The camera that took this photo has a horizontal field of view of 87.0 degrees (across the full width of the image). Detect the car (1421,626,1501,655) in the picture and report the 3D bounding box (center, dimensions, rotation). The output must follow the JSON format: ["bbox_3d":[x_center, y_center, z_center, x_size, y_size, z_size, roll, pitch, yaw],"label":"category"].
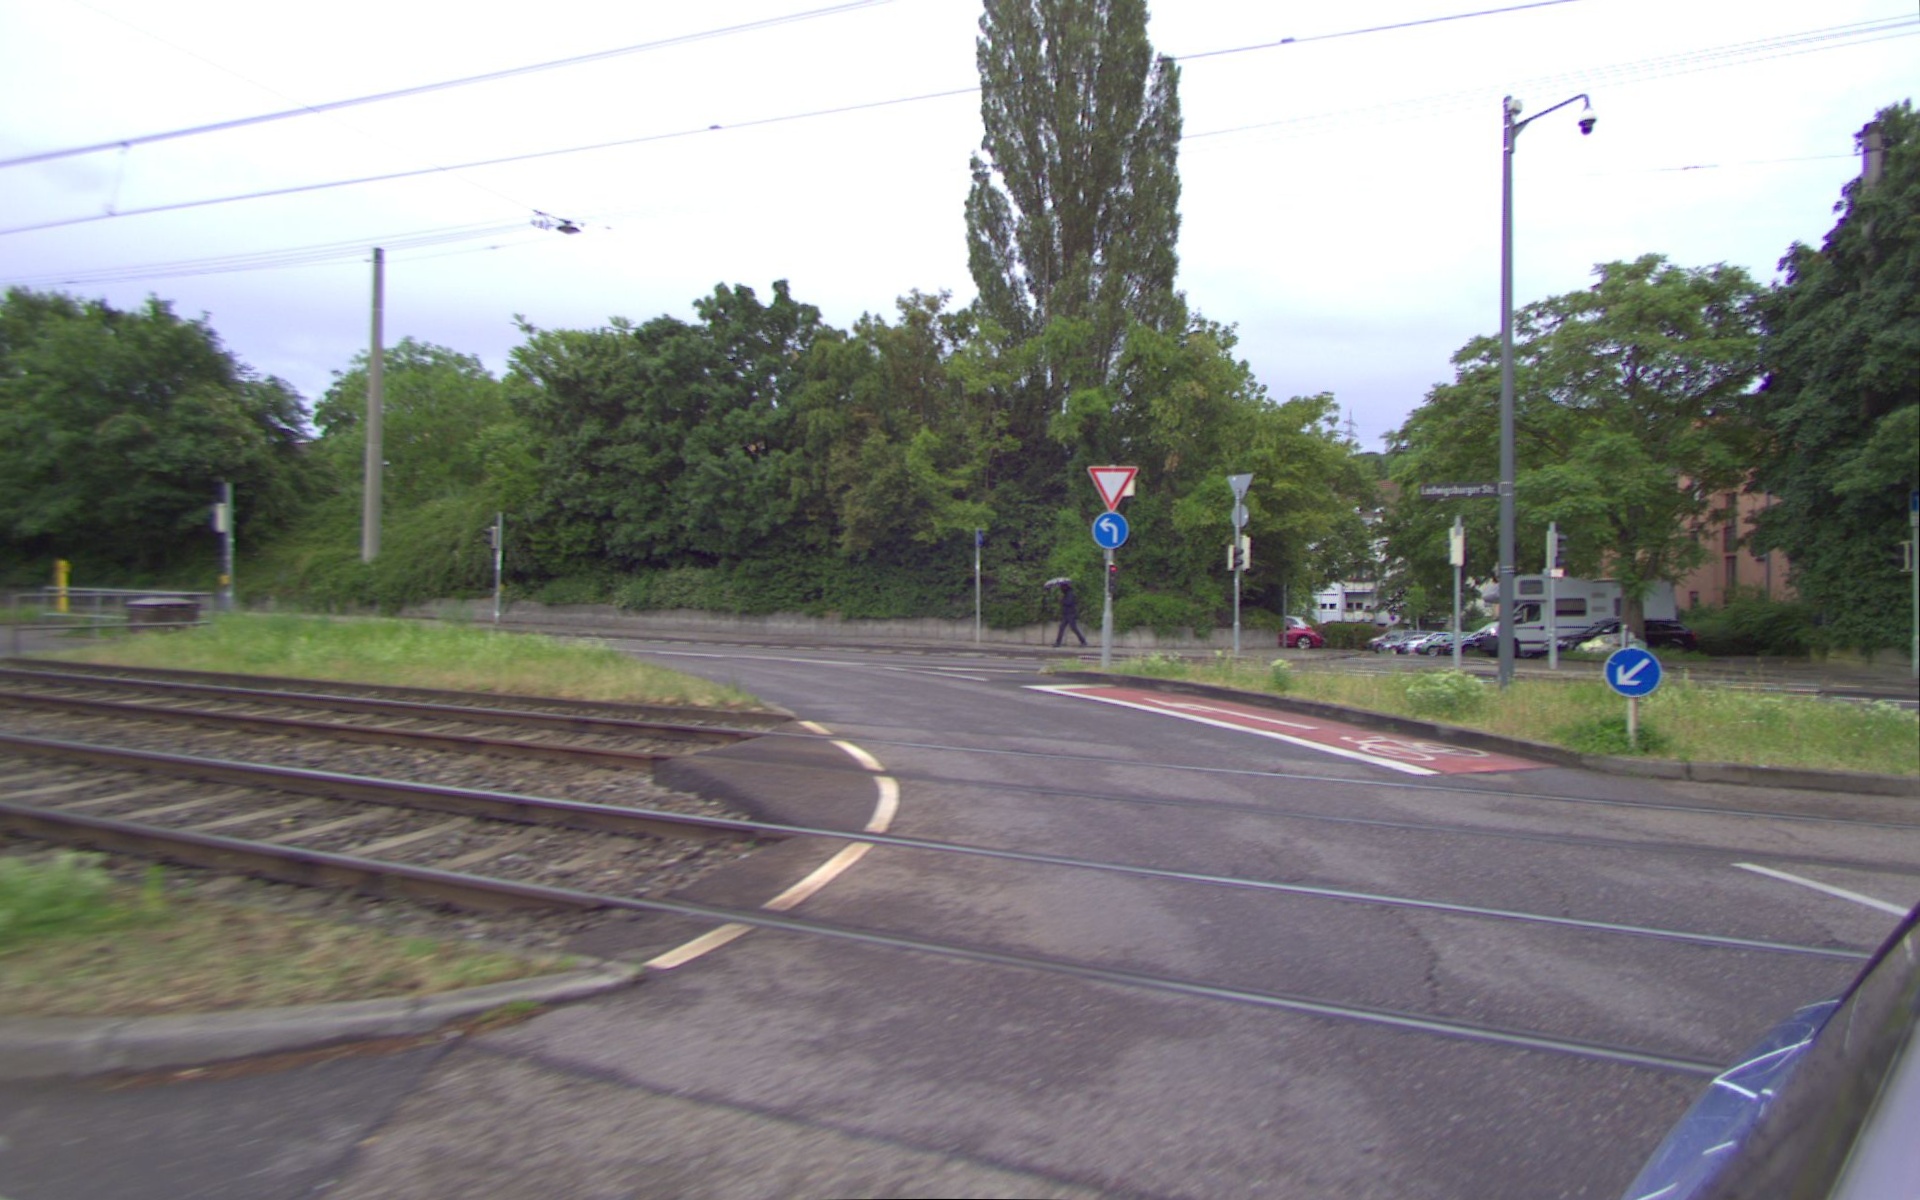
[{"bbox_3d":[29.371,2.363,59.412,3.948,1.568,1.825,1,0,19],"label":"car"}]

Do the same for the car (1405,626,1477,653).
[{"bbox_3d":[30.921,2.514,65.162,3.948,1.568,1.825,1,0,19],"label":"car"}]

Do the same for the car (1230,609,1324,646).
[{"bbox_3d":[14.295,1.227,45.836,3.943,1.568,1.670,1,0,16],"label":"car"}]

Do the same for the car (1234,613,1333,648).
[{"bbox_3d":[13.827,1.271,43.485,3.943,1.371,1.670,1,0,16],"label":"car"}]

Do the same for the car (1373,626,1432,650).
[{"bbox_3d":[34.185,2.898,78.240,3.948,1.667,1.825,1,0,19],"label":"car"}]

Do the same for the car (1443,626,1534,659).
[{"bbox_3d":[27.467,2.191,52.723,3.948,1.568,1.825,1,0,19],"label":"car"}]

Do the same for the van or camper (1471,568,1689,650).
[{"bbox_3d":[22.418,0.269,36.953,6.346,2.790,2.416,1,0,18],"label":"van or camper"}]

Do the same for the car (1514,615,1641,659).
[{"bbox_3d":[24.317,1.431,39.995,3.948,1.568,1.825,1,0,19],"label":"car"}]

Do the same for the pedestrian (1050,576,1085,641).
[{"bbox_3d":[2.735,0.229,25.822,0.675,1.627,0.804,-2,-3,22],"label":"pedestrian"}]

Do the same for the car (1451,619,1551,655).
[{"bbox_3d":[25.855,1.745,48.495,3.948,1.568,1.825,1,0,19],"label":"car"}]

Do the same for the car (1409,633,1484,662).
[{"bbox_3d":[29.742,2.882,61.991,3.948,1.568,1.825,1,0,19],"label":"car"}]

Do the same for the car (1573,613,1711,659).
[{"bbox_3d":[22.714,1.175,33.818,3.423,1.371,1.670,1,0,16],"label":"car"}]
